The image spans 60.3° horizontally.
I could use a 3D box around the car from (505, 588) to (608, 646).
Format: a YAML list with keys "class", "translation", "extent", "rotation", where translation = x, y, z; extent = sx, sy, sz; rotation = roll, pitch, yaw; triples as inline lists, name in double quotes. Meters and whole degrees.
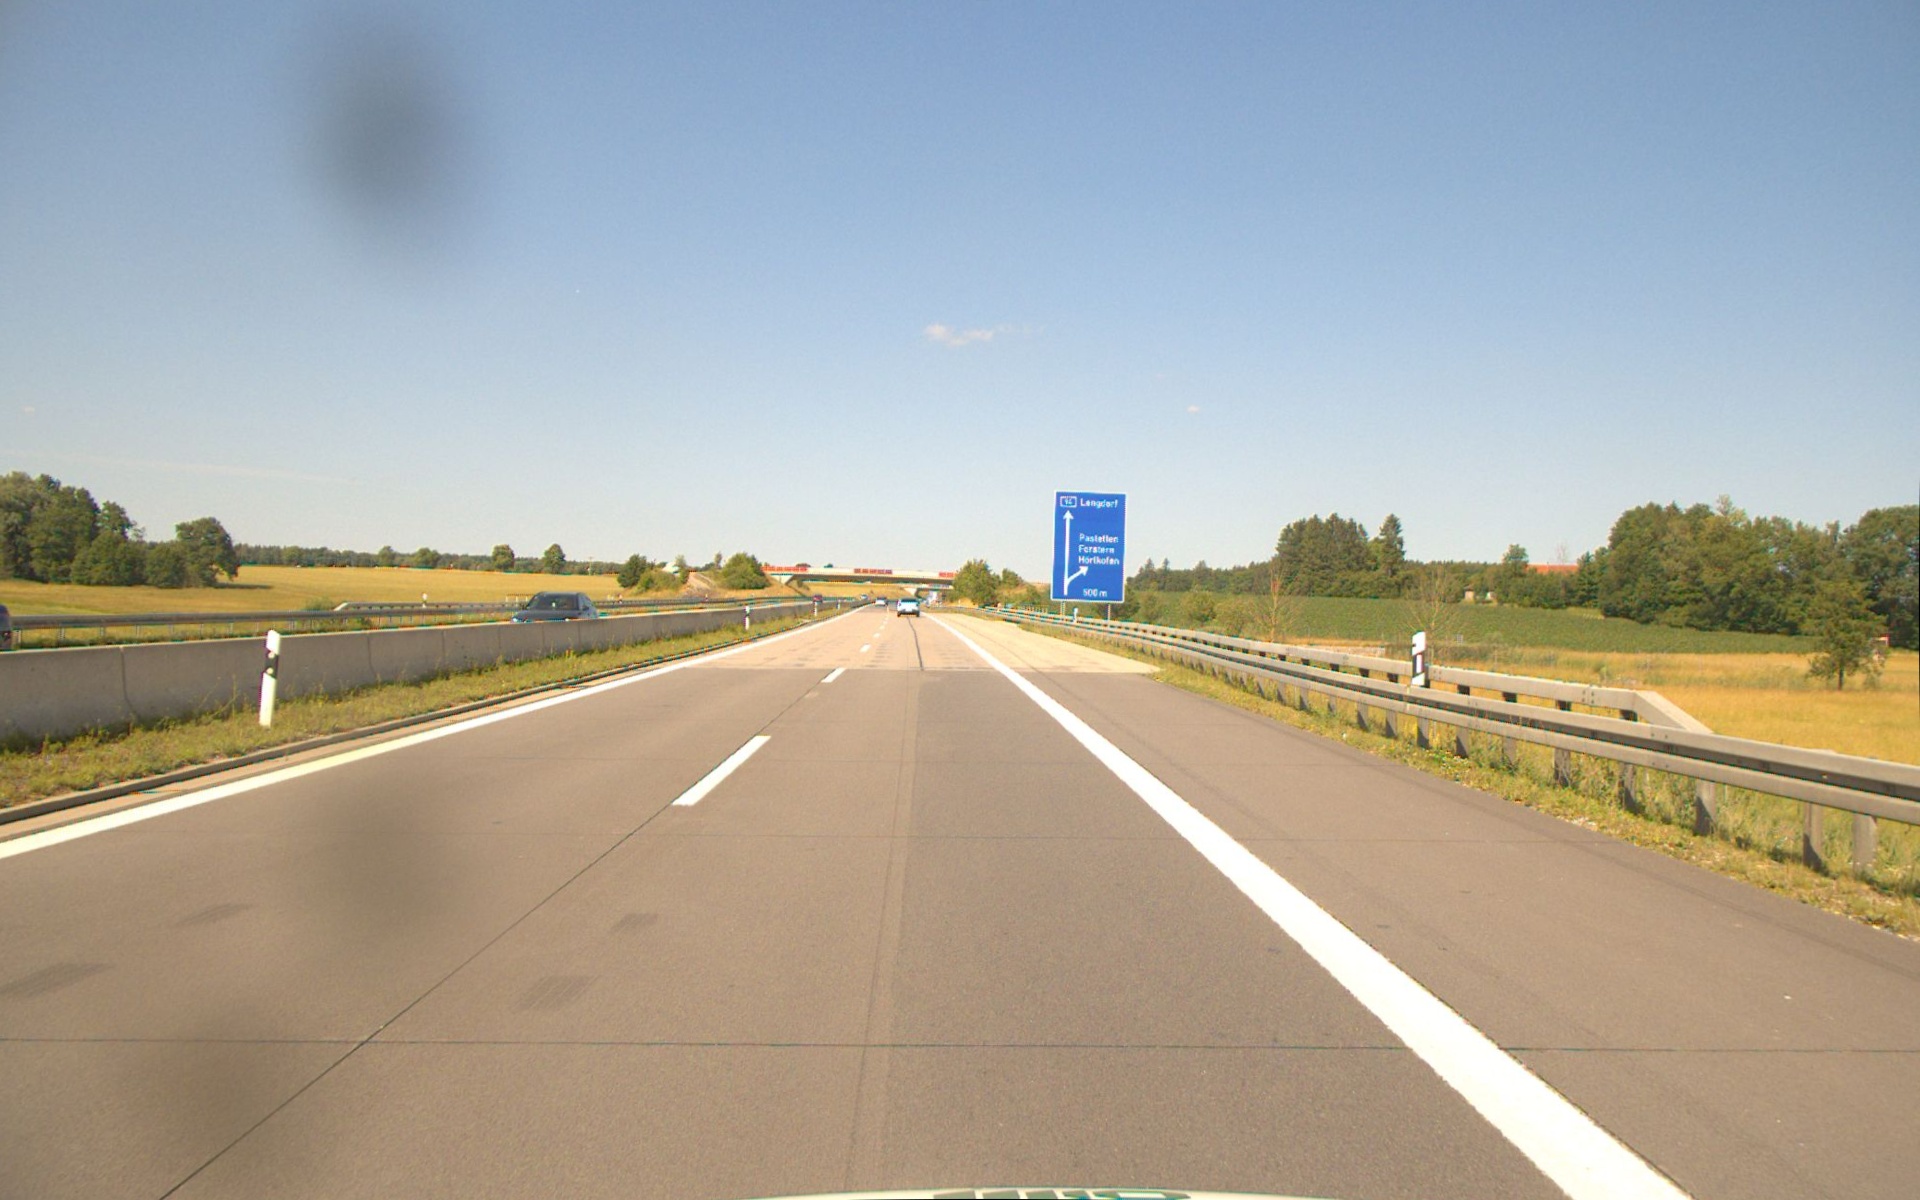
- class: "car"
  translation: [-11.356, 0.447, 46.888]
  extent: [1.859, 1.550, 4.804]
  rotation: [0, 0, -2]

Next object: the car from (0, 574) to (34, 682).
- class: "car"
  translation: [-14.653, 0.409, 22.181]
  extent: [1.859, 1.550, 4.804]
  rotation: [0, 0, -2]

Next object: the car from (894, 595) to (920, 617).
- class: "car"
  translation: [-4.314, 0.488, 134.295]
  extent: [1.954, 1.761, 4.865]
  rotation: [2, 0, -4]
